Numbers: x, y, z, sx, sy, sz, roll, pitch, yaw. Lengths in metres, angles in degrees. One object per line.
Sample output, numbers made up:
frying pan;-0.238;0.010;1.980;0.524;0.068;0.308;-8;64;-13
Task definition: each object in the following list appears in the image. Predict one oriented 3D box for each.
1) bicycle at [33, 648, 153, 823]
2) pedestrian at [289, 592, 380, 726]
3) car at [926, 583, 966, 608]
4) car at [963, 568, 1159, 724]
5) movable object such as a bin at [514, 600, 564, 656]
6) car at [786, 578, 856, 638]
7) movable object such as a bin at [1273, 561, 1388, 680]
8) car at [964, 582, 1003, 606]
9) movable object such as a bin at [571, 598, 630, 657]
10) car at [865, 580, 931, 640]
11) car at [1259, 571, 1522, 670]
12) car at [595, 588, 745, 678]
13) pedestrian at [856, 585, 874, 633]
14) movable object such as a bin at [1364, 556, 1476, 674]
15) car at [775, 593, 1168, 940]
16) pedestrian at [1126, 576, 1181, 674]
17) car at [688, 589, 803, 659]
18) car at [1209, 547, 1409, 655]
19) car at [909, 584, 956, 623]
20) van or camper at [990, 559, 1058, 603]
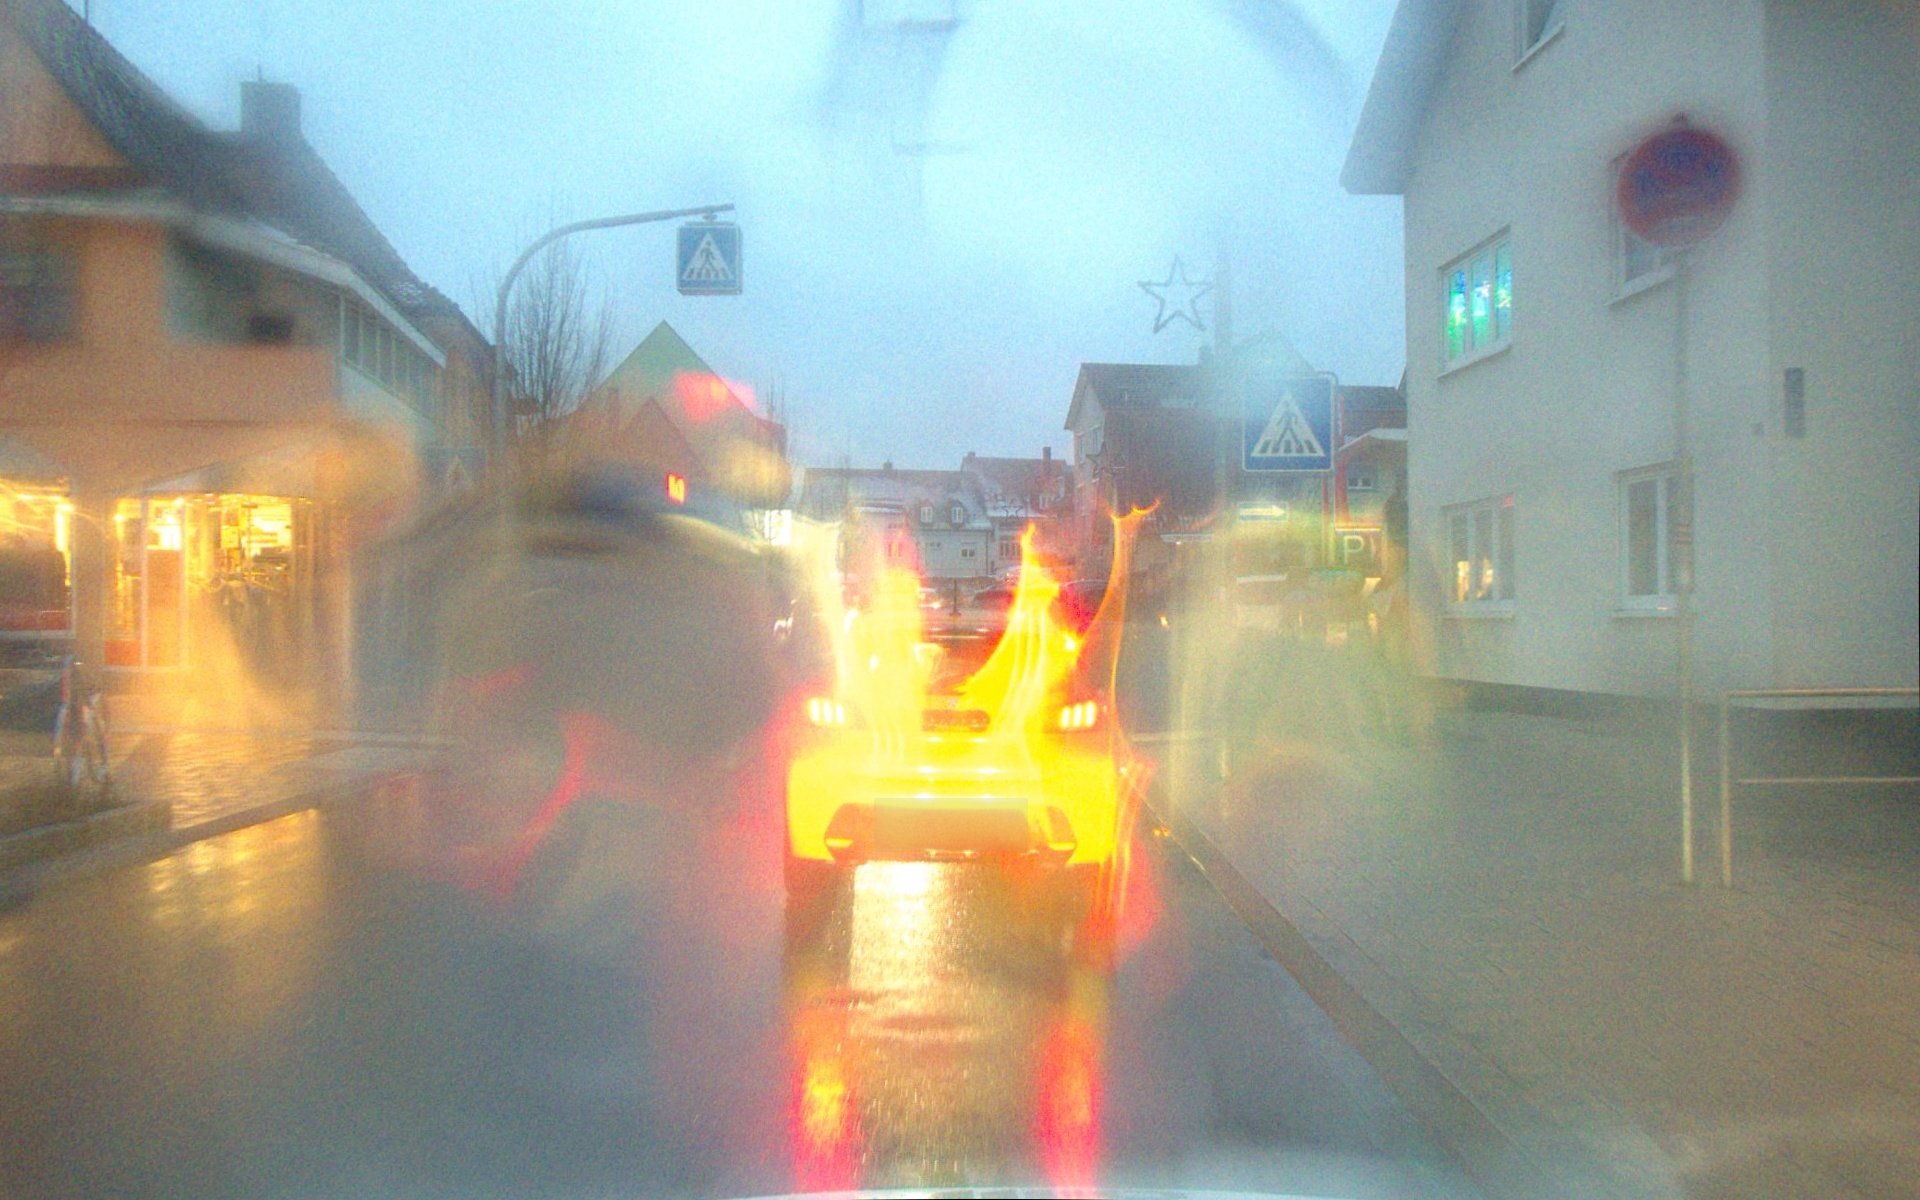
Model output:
bicycle;-6.382;0.961;12.241;0.319;1.079;1.738;-5;3;-15
pedestrian;-8.093;0.746;21.442;0.810;1.687;1.096;1;0;-6
car;-1.071;-0.371;124.193;1.961;1.795;4.333;-2;1;-15
car;1.094;0.493;19.805;1.952;1.653;3.998;1;0;-2
movable object such as a bin;-10.483;0.696;41.188;1.129;1.378;0.850;0;0;-9
car;-4.365;0.213;52.560;2.044;1.823;5.021;0;1;-3
movable object such as a bin;5.550;0.295;24.862;1.365;1.672;1.261;-3;0;-2
car;1.737;-0.417;124.515;1.959;1.639;4.160;-2;0;-13
movable object such as a bin;-8.980;0.690;41.369;1.315;1.377;0.887;-3;0;-8
car;-1.988;0.285;54.306;1.953;1.735;4.967;2;2;-1
car;7.026;0.342;27.349;3.903;1.512;1.913;-1;-1;4
car;-5.504;0.588;31.995;1.952;1.585;4.622;1;0;2
pedestrian;-3.237;0.306;56.167;0.562;1.613;0.530;0;1;0
movable object such as a bin;6.884;0.212;24.813;1.259;1.672;1.185;-3;0;-2
car;0.044;0.759;9.553;1.777;1.560;4.000;1;0;0
pedestrian;3.888;0.500;33.294;0.947;1.922;1.006;1;0;-2
car;-5.021;0.537;39.382;1.952;1.549;4.979;0;0;1
car;7.415;0.018;35.405;4.003;2.085;2.002;-2;0;9
car;-1.299;0.141;76.223;1.913;1.574;4.413;2;2;-4
van or camper;4.791;-1.416;125.249;2.614;3.100;6.691;-4;1;-21
